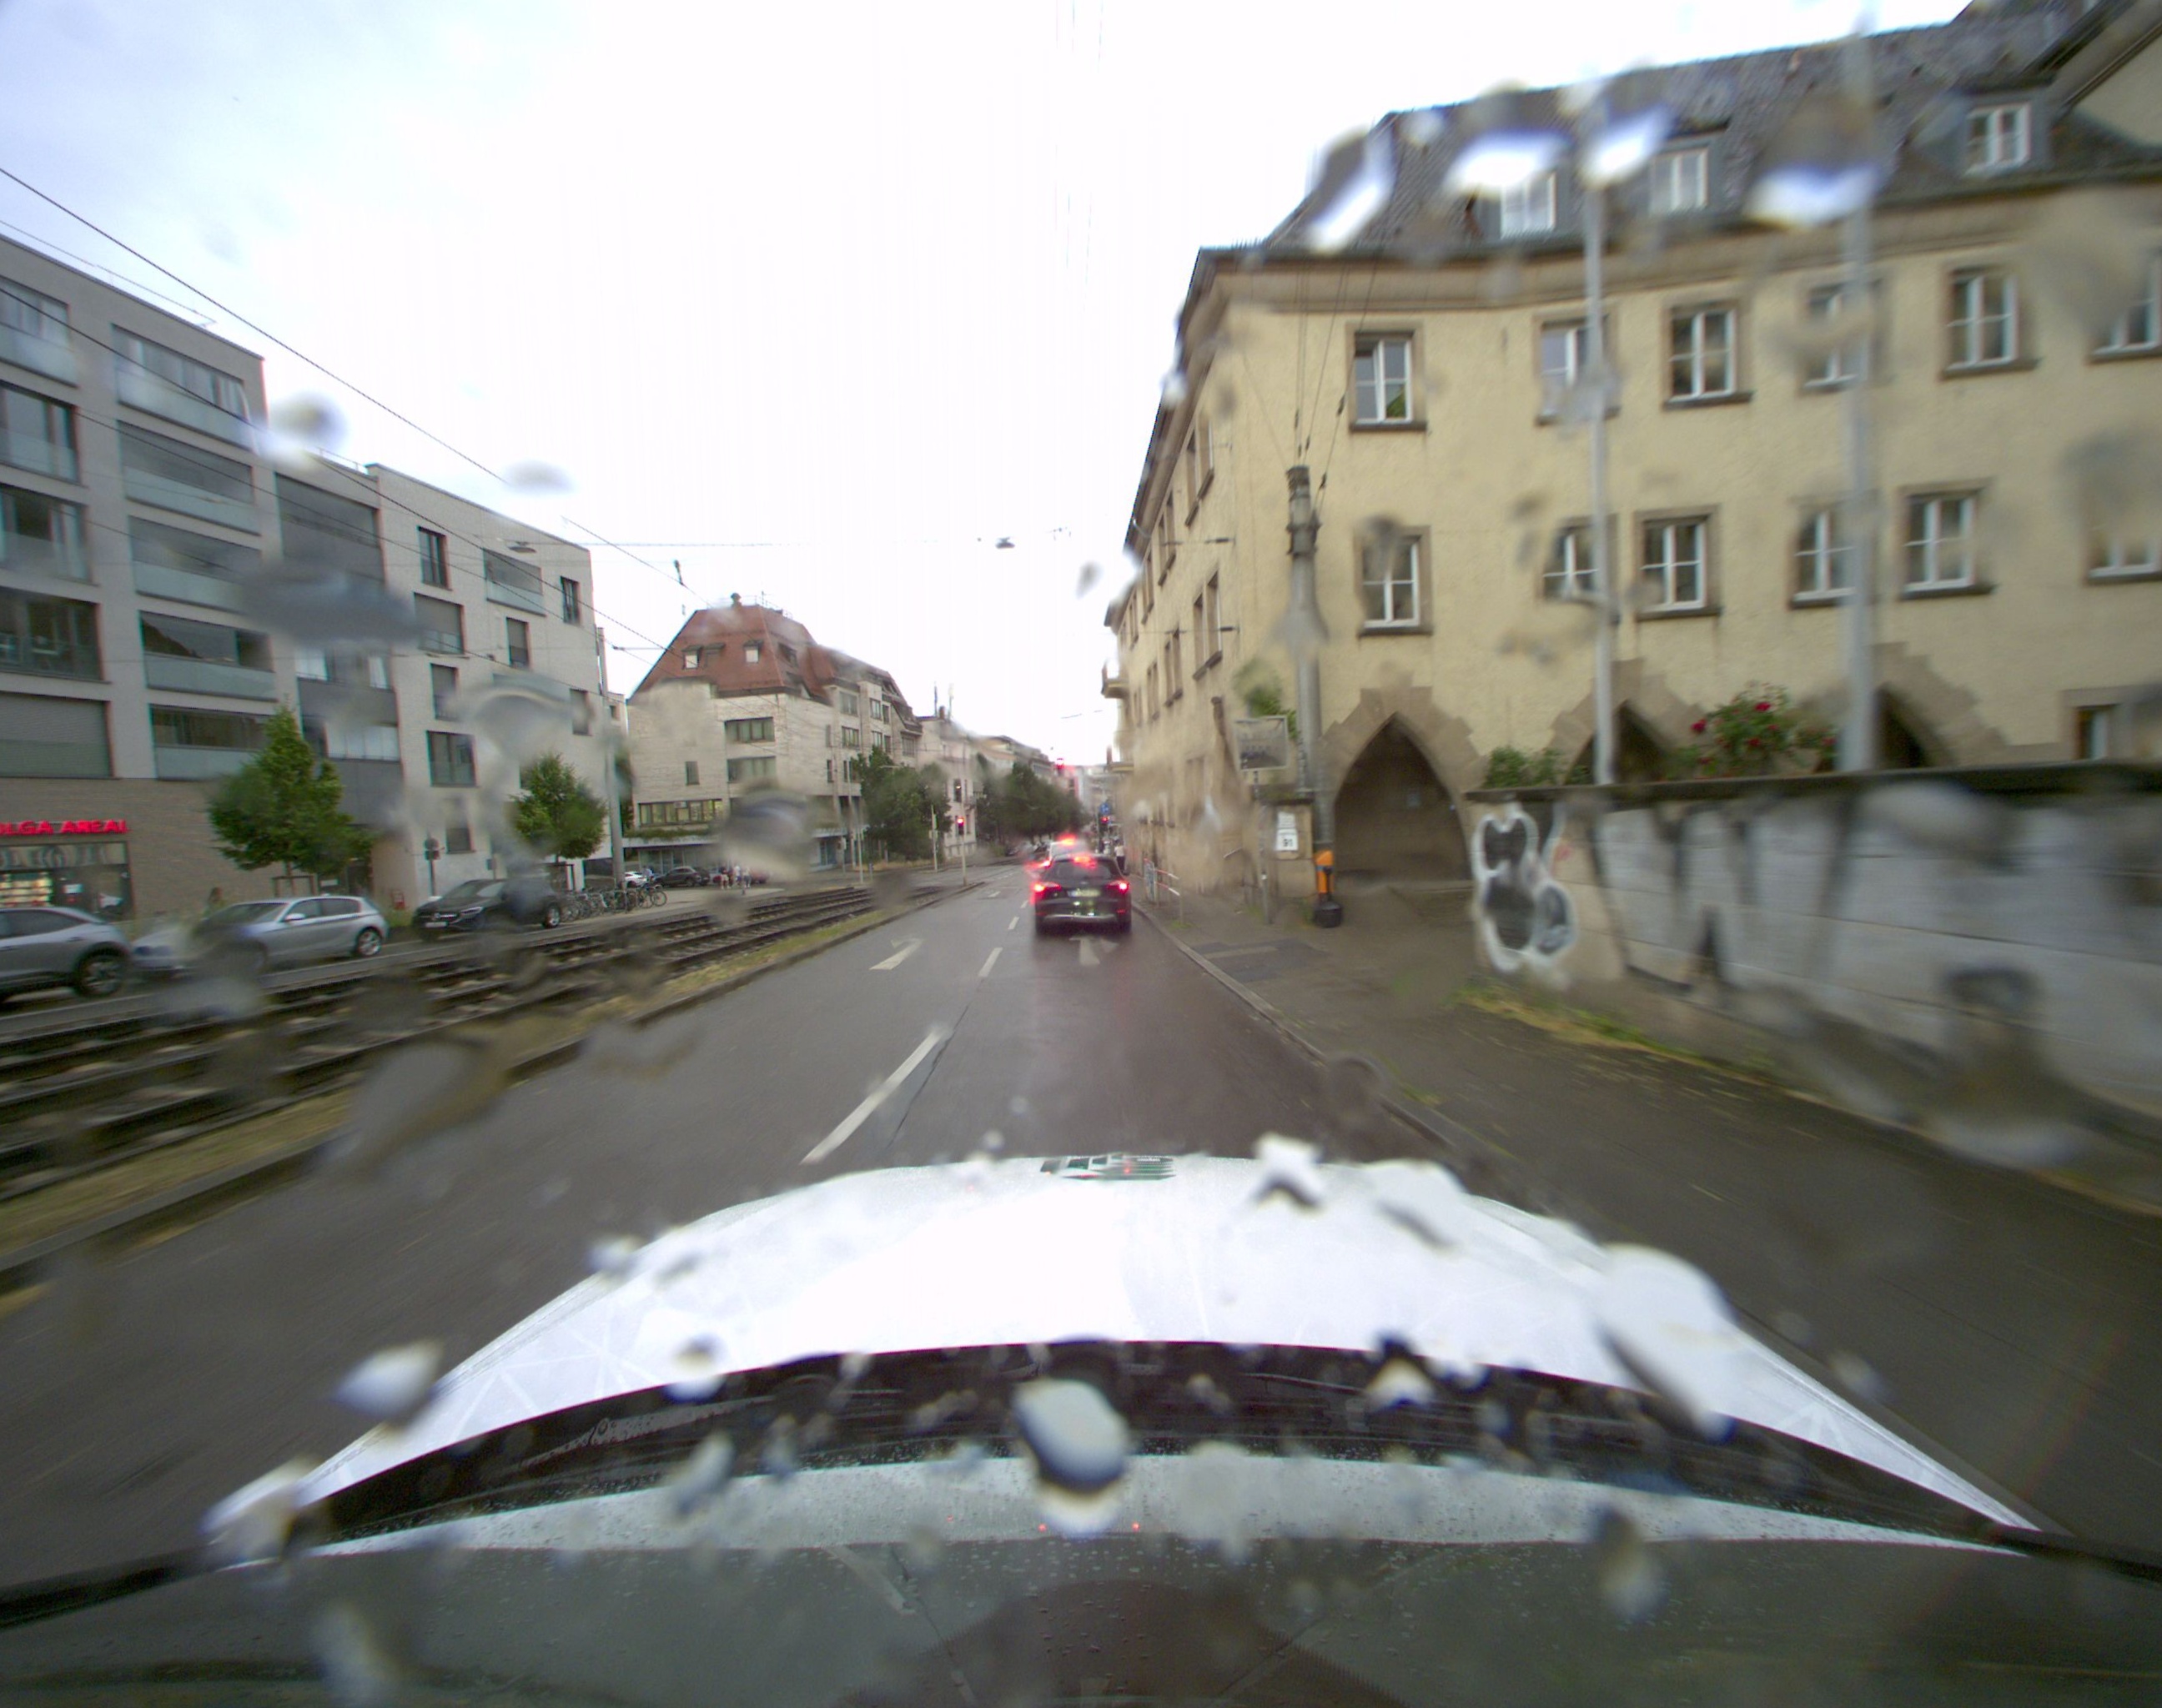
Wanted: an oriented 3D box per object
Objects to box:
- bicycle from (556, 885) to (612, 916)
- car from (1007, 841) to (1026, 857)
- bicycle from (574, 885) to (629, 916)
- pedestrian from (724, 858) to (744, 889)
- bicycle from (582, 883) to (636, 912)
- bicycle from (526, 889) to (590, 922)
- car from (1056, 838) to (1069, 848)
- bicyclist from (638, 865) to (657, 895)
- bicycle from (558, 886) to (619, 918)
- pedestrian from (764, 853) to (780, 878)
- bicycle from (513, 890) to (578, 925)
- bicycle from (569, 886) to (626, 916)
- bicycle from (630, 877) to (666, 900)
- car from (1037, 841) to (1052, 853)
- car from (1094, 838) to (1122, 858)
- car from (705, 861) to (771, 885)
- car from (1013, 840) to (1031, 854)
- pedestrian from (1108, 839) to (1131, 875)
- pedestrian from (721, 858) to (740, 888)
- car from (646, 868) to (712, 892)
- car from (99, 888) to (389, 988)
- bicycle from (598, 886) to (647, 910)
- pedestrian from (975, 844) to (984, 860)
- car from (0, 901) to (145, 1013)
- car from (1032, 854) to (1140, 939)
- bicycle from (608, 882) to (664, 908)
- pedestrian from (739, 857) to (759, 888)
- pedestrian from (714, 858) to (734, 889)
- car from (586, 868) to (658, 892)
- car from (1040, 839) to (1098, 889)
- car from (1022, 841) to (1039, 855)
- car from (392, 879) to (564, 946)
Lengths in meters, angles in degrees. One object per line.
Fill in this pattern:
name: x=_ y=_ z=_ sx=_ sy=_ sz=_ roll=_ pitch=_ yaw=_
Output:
bicycle: x=-18.620 y=1.750 z=30.532 sx=1.762 sy=1.071 sz=0.486 roll=-2 pitch=0 yaw=1
car: x=-8.881 y=-0.667 z=112.042 sx=1.985 sy=2.013 sz=4.004 roll=-3 pitch=1 yaw=3
bicycle: x=-19.010 y=1.816 z=32.303 sx=1.803 sy=1.108 sz=0.452 roll=-2 pitch=0 yaw=-22
pedestrian: x=-23.174 y=1.273 z=54.463 sx=0.940 sy=2.013 sz=0.763 roll=-3 pitch=0 yaw=-5
bicycle: x=-19.426 y=1.776 z=33.574 sx=1.799 sy=1.064 sz=0.566 roll=-2 pitch=0 yaw=-14
bicycle: x=-18.290 y=1.800 z=28.509 sx=1.798 sy=1.064 sz=0.455 roll=-2 pitch=0 yaw=-13
car: x=-3.447 y=-1.965 z=149.175 sx=1.985 sy=1.662 sz=4.004 roll=-3 pitch=1 yaw=3
bicyclist: x=-23.175 y=1.394 z=43.512 sx=0.457 sy=1.574 sz=0.705 roll=-2 pitch=0 yaw=18
bicycle: x=-17.895 y=1.741 z=29.619 sx=1.800 sy=1.064 sz=0.455 roll=-2 pitch=0 yaw=-16
pedestrian: x=-24.826 y=0.894 z=65.505 sx=0.903 sy=1.931 sz=0.824 roll=-4 pitch=1 yaw=-5
bicycle: x=-18.262 y=1.818 z=27.800 sx=1.796 sy=1.064 sz=0.456 roll=-2 pitch=0 yaw=-9
bicycle: x=-18.702 y=1.815 z=31.544 sx=1.800 sy=1.064 sz=0.455 roll=-2 pitch=0 yaw=-16
bicycle: x=-23.144 y=1.833 z=43.546 sx=0.452 sy=1.064 sz=1.811 roll=-2 pitch=1 yaw=19
car: x=-6.067 y=-1.175 z=136.096 sx=1.985 sy=2.013 sz=4.004 roll=-3 pitch=1 yaw=3
car: x=2.526 y=-0.583 z=75.142 sx=1.981 sy=1.772 sz=4.011 roll=-3 pitch=1 yaw=9
car: x=-25.819 y=1.438 z=61.302 sx=4.111 sy=1.568 sz=1.827 roll=-3 pitch=0 yaw=7
car: x=-8.544 y=-1.018 z=118.609 sx=1.985 sy=2.013 sz=4.004 roll=-3 pitch=1 yaw=3
pedestrian: x=1.956 y=0.150 z=41.529 sx=1.043 sy=1.795 sz=0.901 roll=-3 pitch=0 yaw=-3
pedestrian: x=-24.156 y=1.302 z=56.124 sx=0.940 sy=2.013 sz=0.763 roll=-3 pitch=0 yaw=-5
car: x=-30.604 y=1.952 z=62.107 sx=4.111 sy=1.568 sz=1.827 roll=-3 pitch=0 yaw=7
car: x=-16.613 y=1.575 z=16.525 sx=1.770 sy=1.504 sz=4.077 roll=-3 pitch=0 yaw=-5
bicycle: x=-19.296 y=1.848 z=34.293 sx=1.651 sy=0.866 sz=0.567 roll=-2 pitch=0 yaw=-12
pedestrian: x=-13.275 y=-0.223 z=106.524 sx=0.942 sy=2.013 sz=0.762 roll=-3 pitch=0 yaw=-11
car: x=-16.467 y=1.595 z=11.624 sx=1.770 sy=1.504 sz=3.915 roll=-3 pitch=0 yaw=-5
car: x=-0.025 y=0.744 z=16.435 sx=1.916 sy=1.479 sz=3.995 roll=0 pitch=0 yaw=-3
bicycle: x=-19.325 y=1.771 z=35.392 sx=1.950 sy=1.027 sz=0.718 roll=-2 pitch=0 yaw=-11
pedestrian: x=-22.186 y=1.212 z=54.401 sx=0.939 sy=2.013 sz=0.764 roll=-3 pitch=0 yaw=-2
pedestrian: x=-24.041 y=1.318 z=54.847 sx=0.940 sy=2.013 sz=0.763 roll=-3 pitch=0 yaw=-5
car: x=-35.261 y=1.982 z=62.613 sx=4.435 sy=1.568 sz=1.912 roll=-3 pitch=0 yaw=7
car: x=-0.569 y=0.356 z=33.164 sx=2.132 sy=1.745 sz=4.214 roll=-4 pitch=1 yaw=-3
car: x=-7.759 y=-0.997 z=125.198 sx=1.985 sy=2.013 sz=4.004 roll=-3 pitch=1 yaw=3
car: x=-17.042 y=1.588 z=23.333 sx=1.908 sy=1.504 sz=4.230 roll=-3 pitch=0 yaw=-5
